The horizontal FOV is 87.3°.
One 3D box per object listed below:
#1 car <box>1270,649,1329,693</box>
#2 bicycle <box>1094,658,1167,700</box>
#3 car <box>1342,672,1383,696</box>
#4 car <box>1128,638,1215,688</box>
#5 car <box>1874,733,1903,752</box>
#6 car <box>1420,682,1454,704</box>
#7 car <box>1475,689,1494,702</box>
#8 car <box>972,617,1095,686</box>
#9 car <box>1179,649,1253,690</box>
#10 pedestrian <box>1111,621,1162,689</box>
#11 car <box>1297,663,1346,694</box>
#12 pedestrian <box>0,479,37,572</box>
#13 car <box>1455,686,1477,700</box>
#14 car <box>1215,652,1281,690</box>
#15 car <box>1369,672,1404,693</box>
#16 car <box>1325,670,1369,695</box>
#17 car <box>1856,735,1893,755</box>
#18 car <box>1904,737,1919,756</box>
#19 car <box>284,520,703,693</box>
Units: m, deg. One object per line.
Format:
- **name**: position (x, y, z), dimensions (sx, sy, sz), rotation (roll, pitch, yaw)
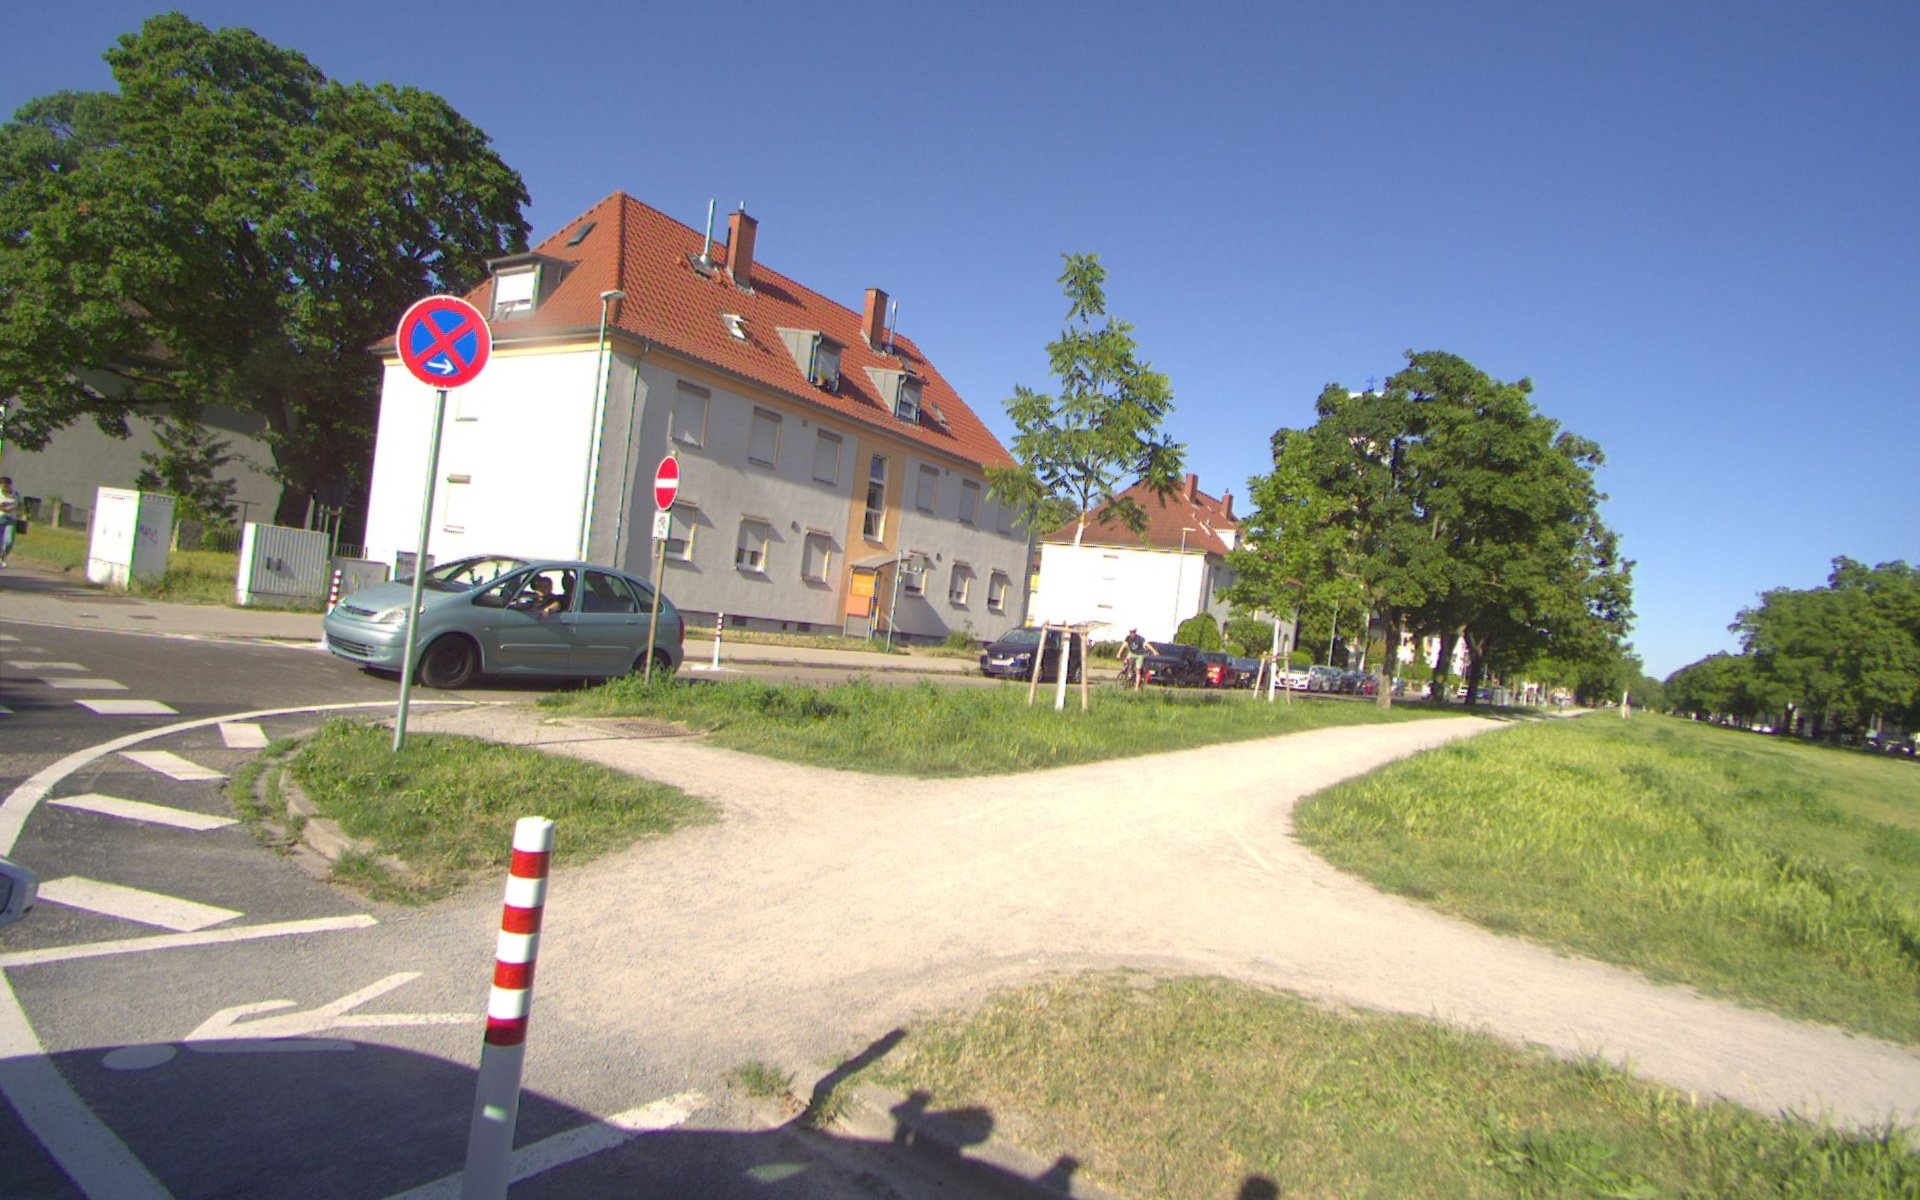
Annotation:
- **car**: position (18.718, 3.926, 55.344), dimensions (1.842, 2.038, 4.246), rotation (7, -1, 34)
- **bicycle**: position (4.732, 2.186, 27.696), dimensions (1.036, 0.949, 2.760), rotation (7, -1, 29)
- **car**: position (27.603, 5.740, 68.912), dimensions (1.694, 1.358, 3.800), rotation (7, -1, 34)
- **car**: position (8.227, 2.467, 38.886), dimensions (1.694, 1.602, 4.130), rotation (7, -1, 34)
- **car**: position (111.738, 17.122, 121.098), dimensions (1.836, 1.867, 3.984), rotation (7, -1, 35)
- **car**: position (36.117, 7.059, 76.117), dimensions (1.694, 1.358, 3.800), rotation (7, -1, 34)
- **car**: position (67.476, 12.296, 129.429), dimensions (1.694, 1.358, 3.800), rotation (7, -1, 34)
- **car**: position (2.263, 1.568, 29.906), dimensions (1.694, 1.684, 4.054), rotation (7, -1, 34)
- **car**: position (11.180, 3.041, 43.747), dimensions (1.694, 1.459, 4.130), rotation (7, -1, 34)
- **pedestrian**: position (4.864, 1.511, 27.749), dimensions (1.036, 1.730, 0.692), rotation (7, 0, 30)
- **car**: position (21.431, 4.668, 59.598), dimensions (1.694, 1.516, 3.800), rotation (7, -1, 34)
- **pedestrian**: position (-17.689, -1.403, 18.530), dimensions (0.822, 1.631, 0.765), rotation (7, 0, 38)
- **car**: position (58.547, 10.746, 116.473), dimensions (1.694, 1.358, 3.800), rotation (7, -1, 34)
- **car**: position (13.660, 3.381, 47.584), dimensions (1.694, 1.459, 4.130), rotation (7, -1, 34)
- **car**: position (33.291, 6.474, 78.524), dimensions (1.694, 1.358, 3.800), rotation (7, -1, 34)
- **car**: position (24.793, 5.300, 64.434), dimensions (1.694, 1.358, 3.800), rotation (7, -1, 34)
- **car**: position (95.347, 15.098, 104.912), dimensions (2.048, 1.483, 4.715), rotation (7, -1, 35)
- **car**: position (104.885, 16.066, 109.836), dimensions (1.836, 1.867, 3.984), rotation (7, -1, 35)
- **car**: position (-5.513, 0.190, 12.442), dimensions (1.859, 1.628, 4.236), rotation (7, -1, 34)
